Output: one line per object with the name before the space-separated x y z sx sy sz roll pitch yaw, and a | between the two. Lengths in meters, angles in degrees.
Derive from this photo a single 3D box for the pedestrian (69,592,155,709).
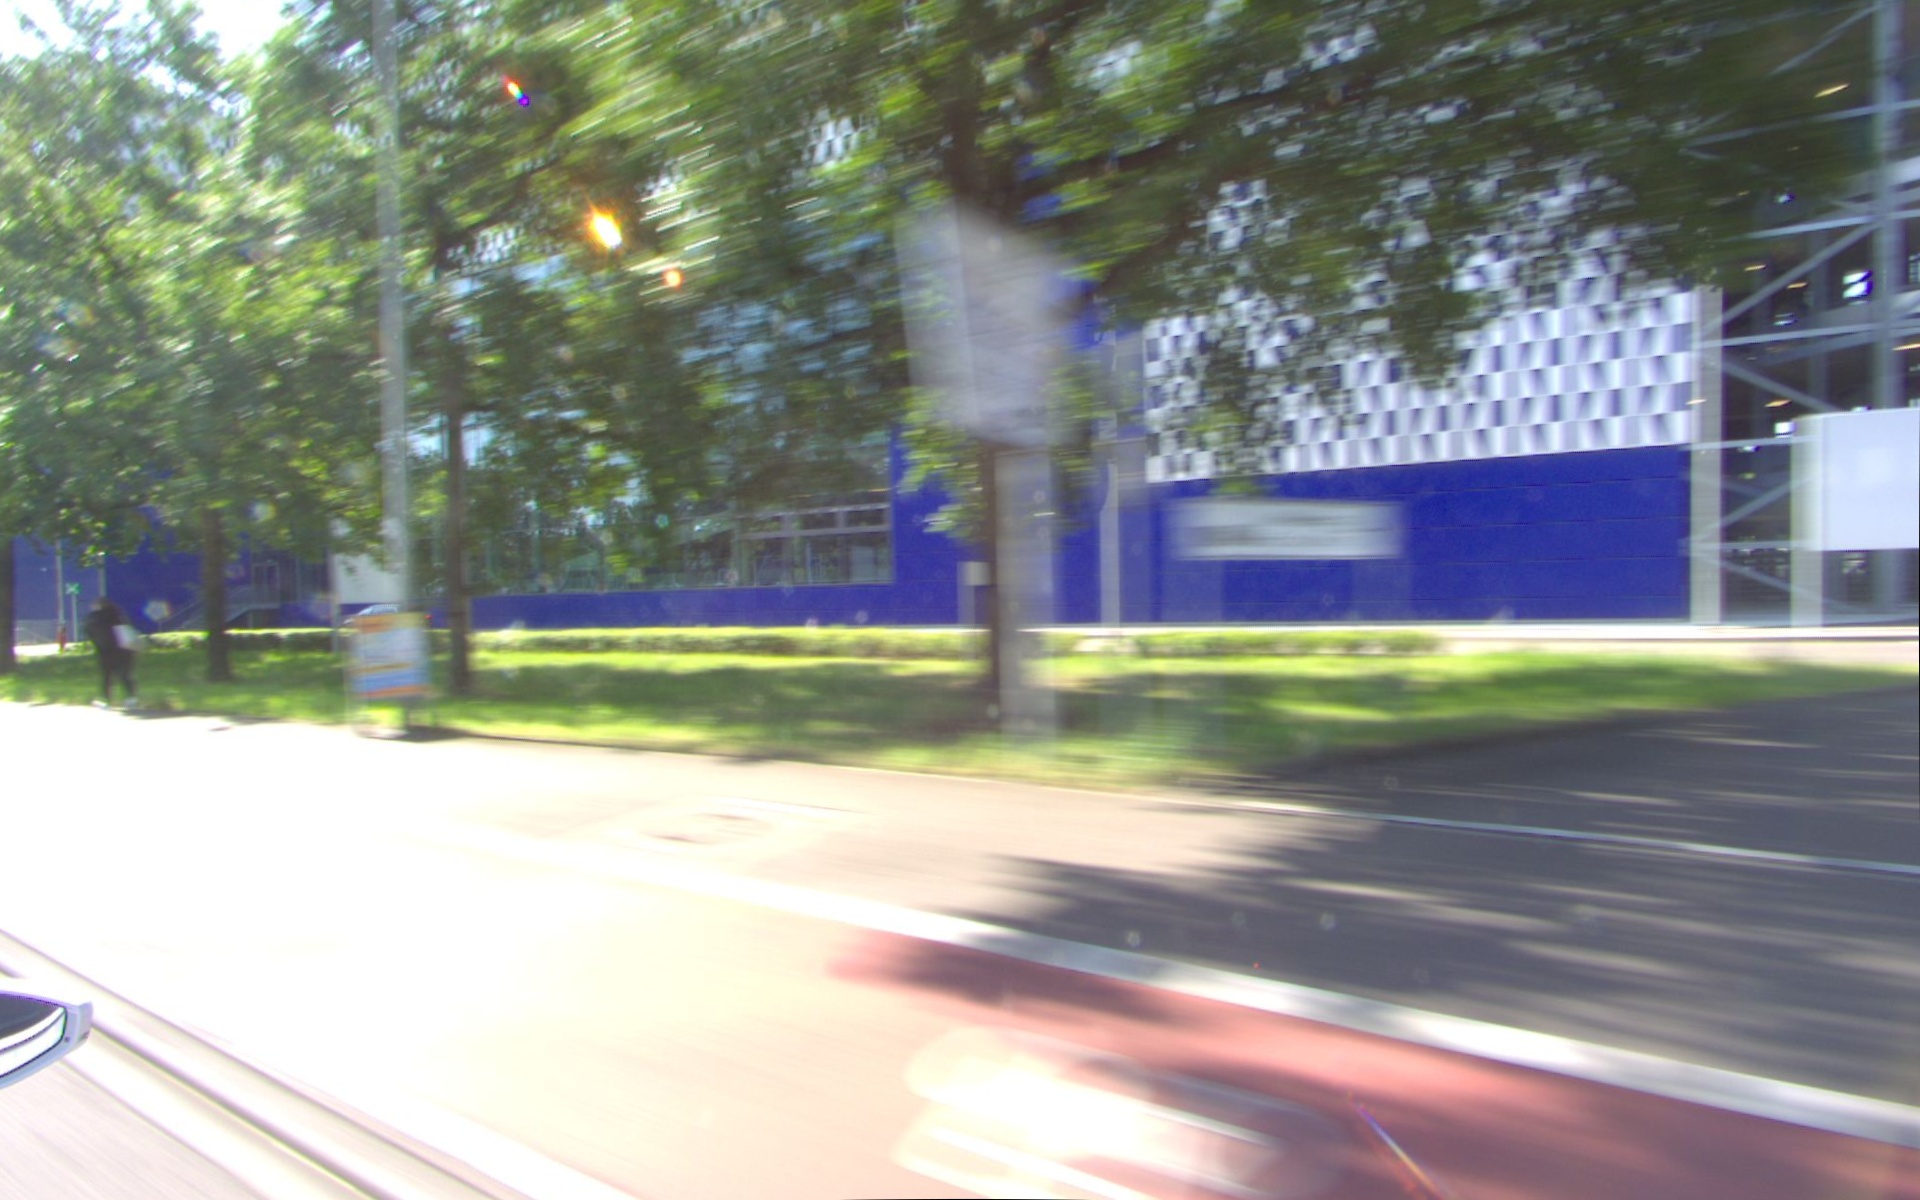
pedestrian | -12.177 0.706 14.380 0.834 1.625 0.646 -1 1 29

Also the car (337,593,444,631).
car | -24.979 0.515 43.920 4.303 1.540 1.905 -1 1 25
